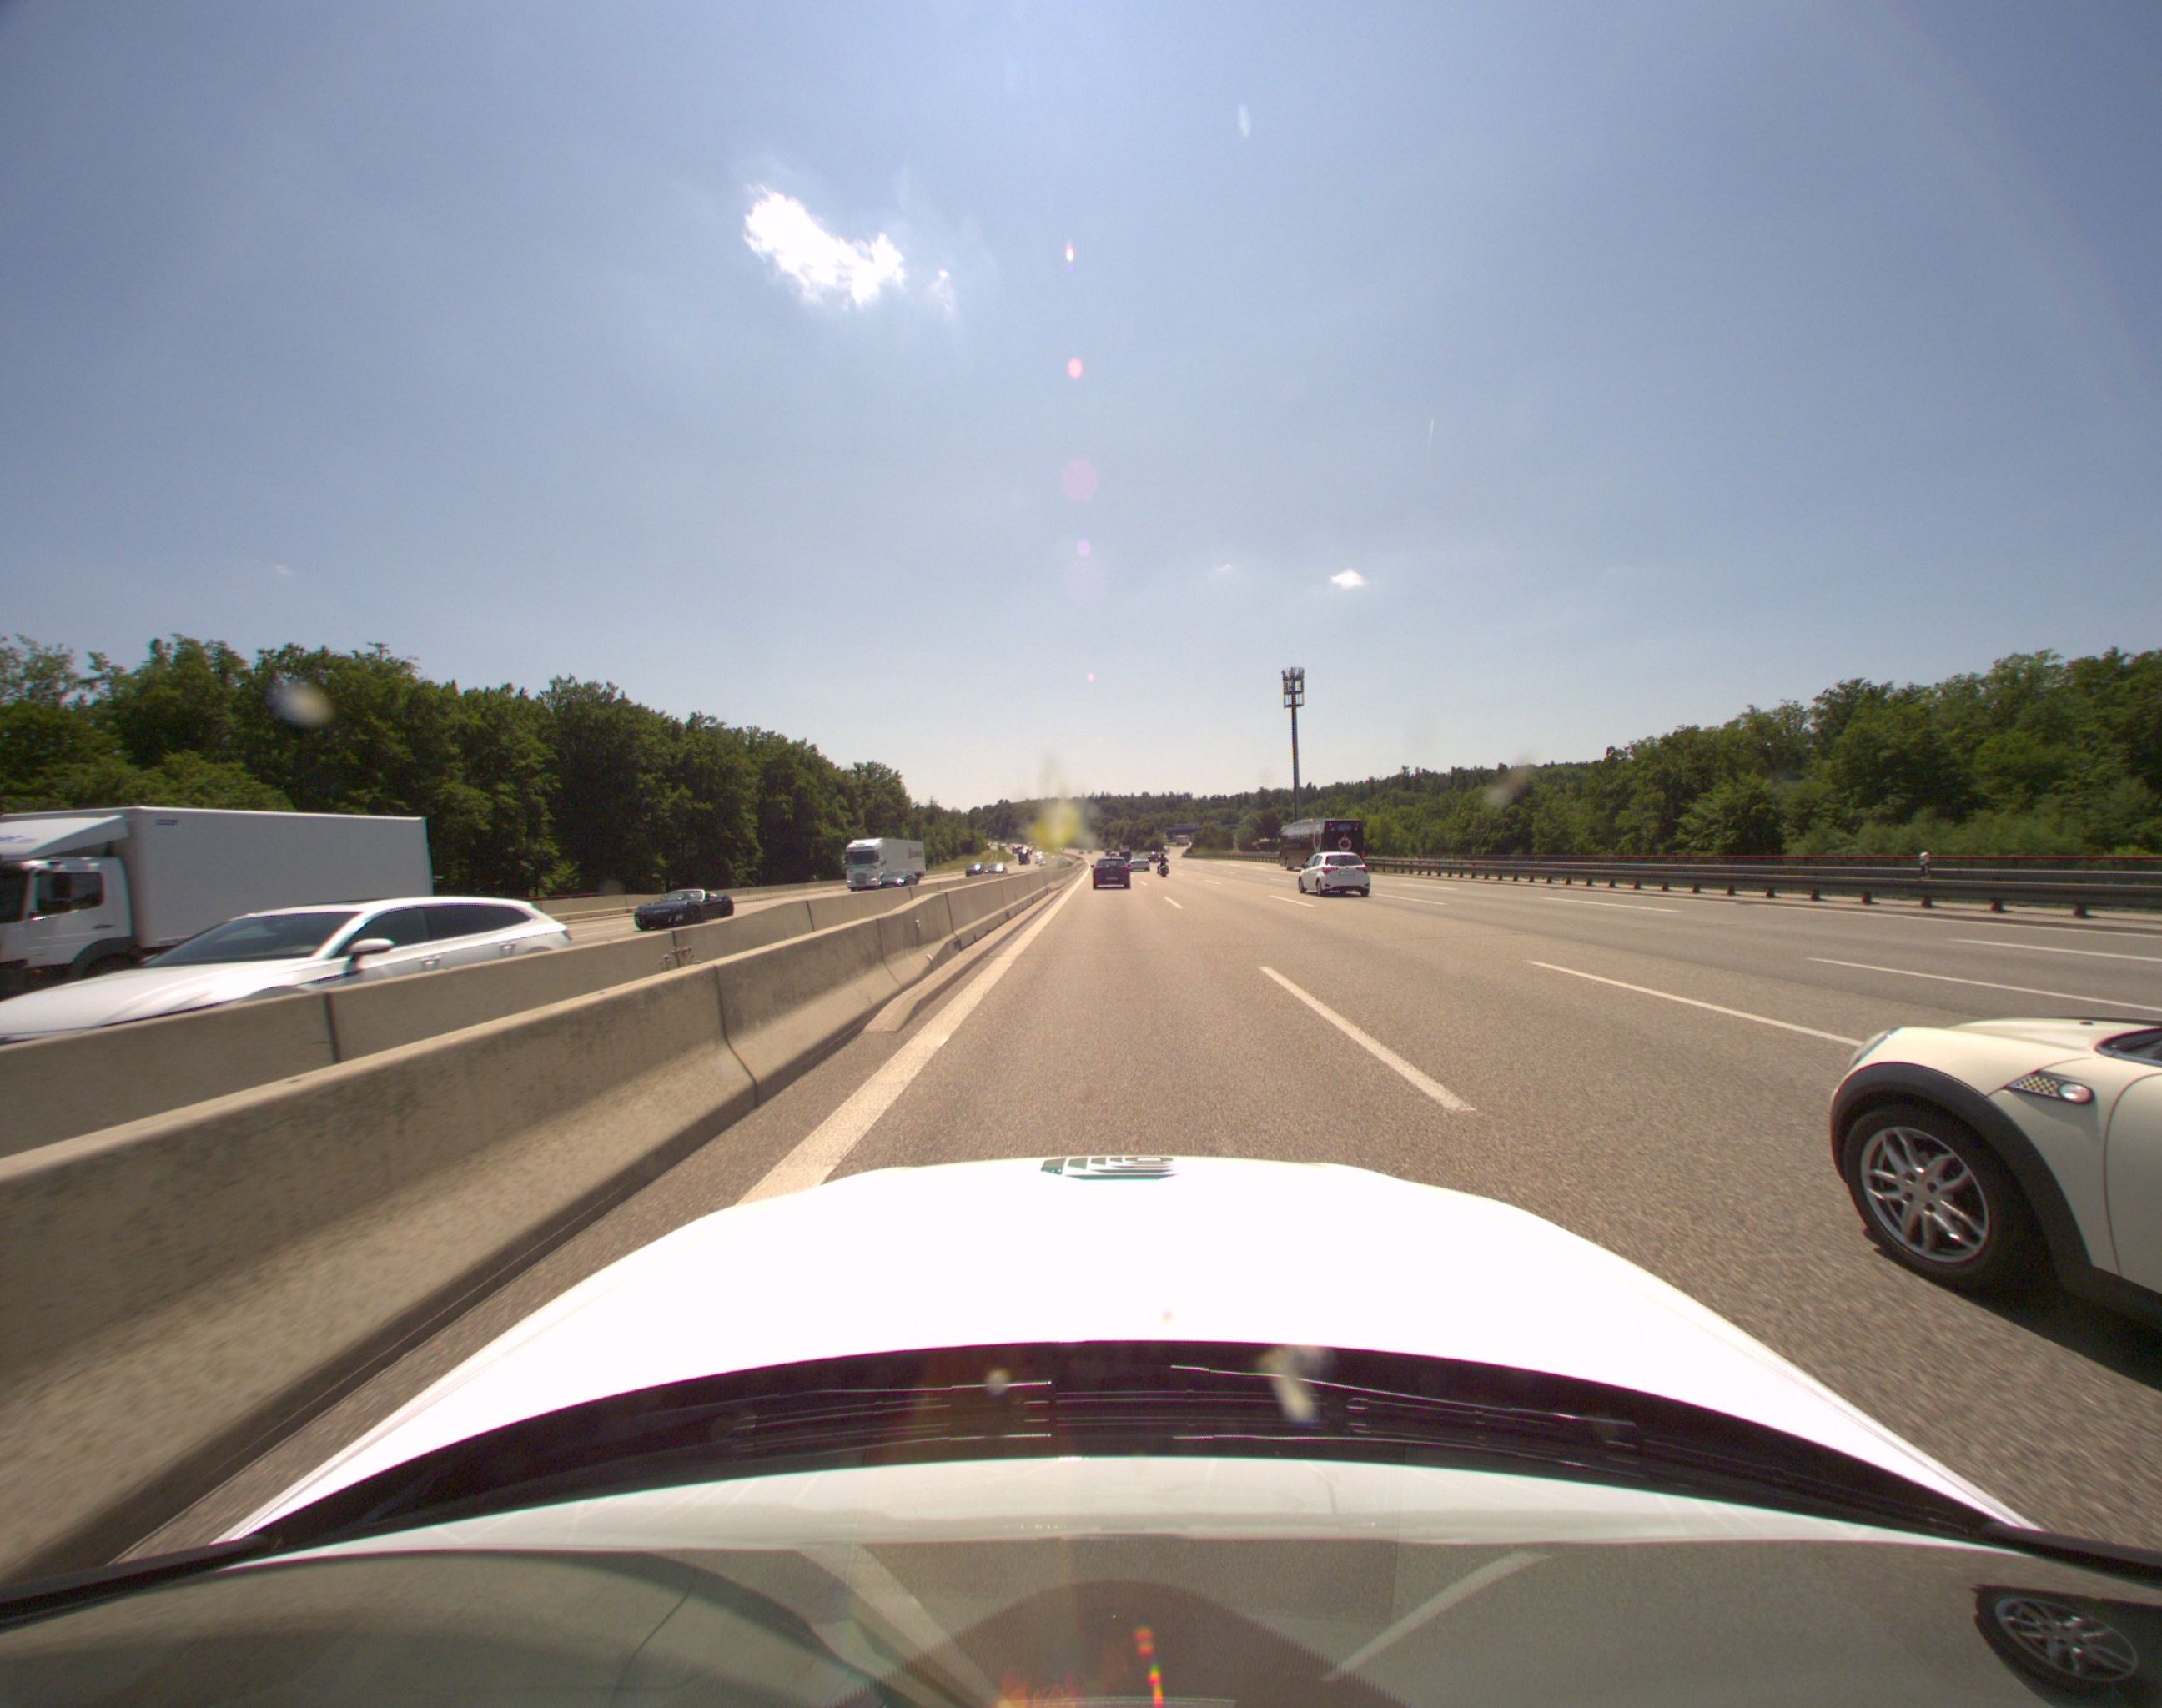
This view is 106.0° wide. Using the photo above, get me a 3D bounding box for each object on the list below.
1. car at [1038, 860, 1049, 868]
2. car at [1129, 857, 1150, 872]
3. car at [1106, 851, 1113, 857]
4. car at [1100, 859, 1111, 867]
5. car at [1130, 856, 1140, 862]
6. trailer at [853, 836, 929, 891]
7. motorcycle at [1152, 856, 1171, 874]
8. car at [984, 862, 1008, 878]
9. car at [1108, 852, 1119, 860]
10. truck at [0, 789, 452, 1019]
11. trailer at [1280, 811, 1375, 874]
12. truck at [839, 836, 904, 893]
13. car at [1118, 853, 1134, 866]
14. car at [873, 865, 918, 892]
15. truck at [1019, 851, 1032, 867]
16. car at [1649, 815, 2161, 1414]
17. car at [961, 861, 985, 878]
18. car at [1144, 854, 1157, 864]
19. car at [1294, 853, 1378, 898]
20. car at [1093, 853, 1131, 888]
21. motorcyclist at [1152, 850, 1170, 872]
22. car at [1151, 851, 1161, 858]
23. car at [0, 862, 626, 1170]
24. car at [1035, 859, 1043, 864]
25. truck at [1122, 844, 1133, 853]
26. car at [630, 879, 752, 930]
[{"bbox_3d":[-7.595,1.977,166.110,1.761,1.478,4.482,-3,0,1],"label":"car"},{"bbox_3d":[5.432,0.981,75.787,1.776,1.265,3.461,-2,0,2],"label":"car"},{"bbox_3d":[9.035,-0.030,258.058,1.989,2.013,4.670,-1,1,-3],"label":"car"},{"bbox_3d":[4.153,1.493,136.689,1.532,1.212,3.457,-3,0,-2],"label":"car"},{"bbox_3d":[10.331,0.965,155.362,1.603,1.212,3.459,-3,0,0],"label":"car"},{"bbox_3d":[-16.431,0.758,71.867,2.633,4.224,14.365,-4,0,1],"label":"trailer"},{"bbox_3d":[5.413,0.718,55.188,0.974,1.129,2.270,-3,0,-1],"label":"motorcycle"},{"bbox_3d":[-8.506,1.614,81.887,1.791,1.481,4.722,0,0,1],"label":"car"},{"bbox_3d":[7.150,0.464,177.595,1.989,1.684,4.420,-1,1,-3],"label":"car"},{"bbox_3d":[-17.903,0.872,16.996,2.530,3.571,8.578,-4,0,1],"label":"truck"},{"bbox_3d":[16.665,-0.634,56.427,2.846,3.688,13.550,-3,-1,2],"label":"trailer"},{"bbox_3d":[-16.696,0.774,65.496,2.705,4.099,7.879,-4,0,1],"label":"truck"},{"bbox_3d":[6.516,0.767,118.283,2.091,1.851,4.079,-2,0,-1],"label":"car"},{"bbox_3d":[-12.189,1.588,53.816,1.791,1.481,4.399,-4,0,1],"label":"car"},{"bbox_3d":[-14.922,1.335,218.553,2.649,4.025,5.510,-4,0,0],"label":"truck"},{"bbox_3d":[3.800,0.697,2.166,1.835,1.551,4.002,-2,2,1],"label":"car"},{"bbox_3d":[-12.164,1.705,91.813,1.791,1.643,5.081,-5,-1,1],"label":"car"},{"bbox_3d":[10.360,0.680,121.256,1.669,1.431,3.686,-2,0,2],"label":"car"},{"bbox_3d":[8.841,0.699,28.614,1.660,1.433,4.376,1,0,1],"label":"car"},{"bbox_3d":[1.427,0.783,37.502,1.618,1.487,3.686,-1,-3,2],"label":"car"},{"bbox_3d":[5.394,0.443,55.172,0.960,1.437,1.234,-4,0,-3],"label":"motorcyclist"},{"bbox_3d":[14.957,0.094,162.443,1.603,1.212,3.459,-3,0,0],"label":"car"},{"bbox_3d":[-6.924,1.102,7.957,1.766,1.879,5.215,-1,1,3],"label":"car"},{"bbox_3d":[-11.255,2.039,216.013,1.826,1.301,4.728,-2,0,0],"label":"car"},{"bbox_3d":[13.983,-1.710,247.290,2.720,2.786,5.678,-1,1,-3],"label":"truck"},{"bbox_3d":[-13.113,1.642,27.705,1.791,1.376,4.533,-3,0,1],"label":"car"}]
